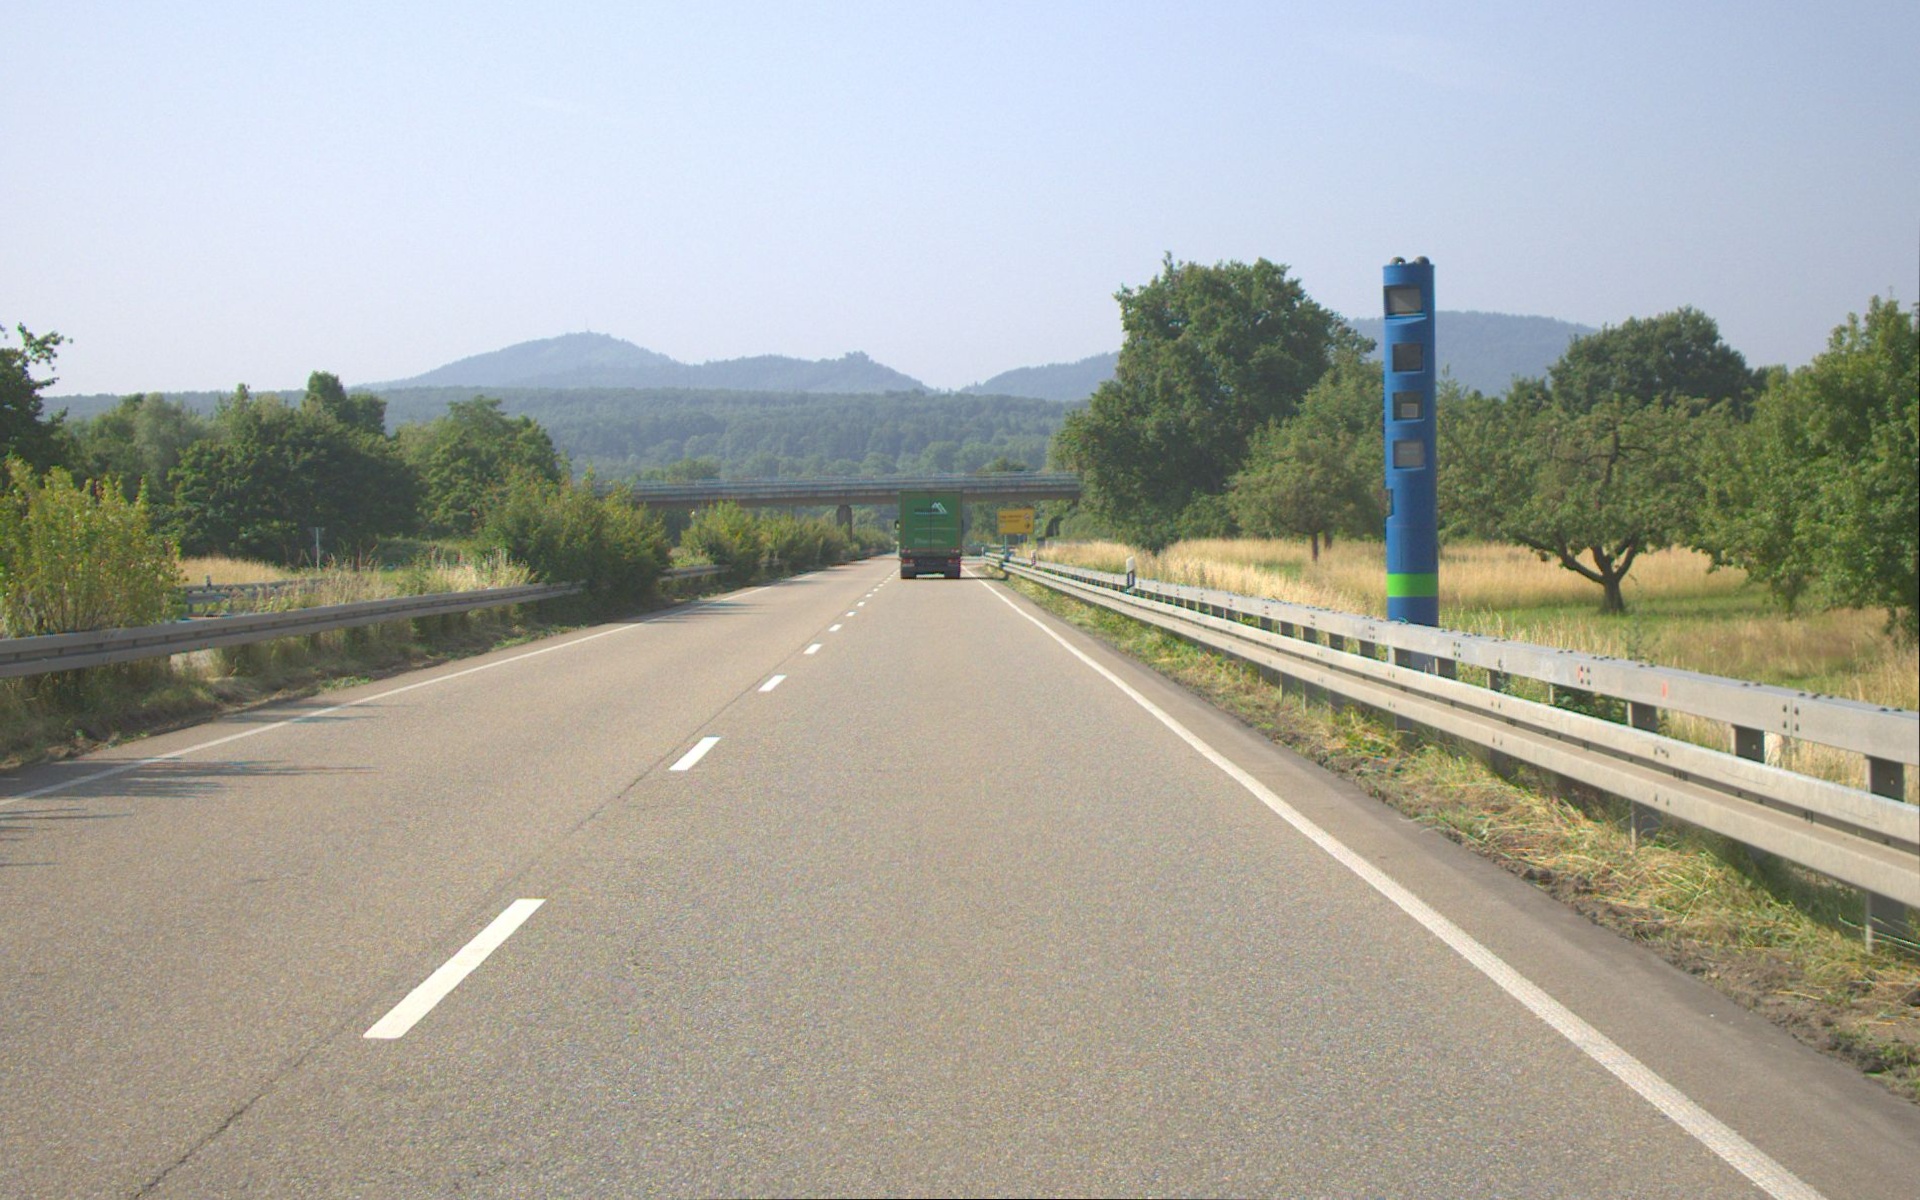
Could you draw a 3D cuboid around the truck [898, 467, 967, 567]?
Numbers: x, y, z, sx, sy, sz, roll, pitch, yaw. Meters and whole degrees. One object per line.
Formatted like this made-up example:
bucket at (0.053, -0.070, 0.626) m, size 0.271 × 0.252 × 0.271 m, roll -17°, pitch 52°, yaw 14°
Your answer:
truck at (-1.114, -3.539, 143.491) m, size 2.722 × 3.952 × 10.417 m, roll 1°, pitch 2°, yaw 0°
